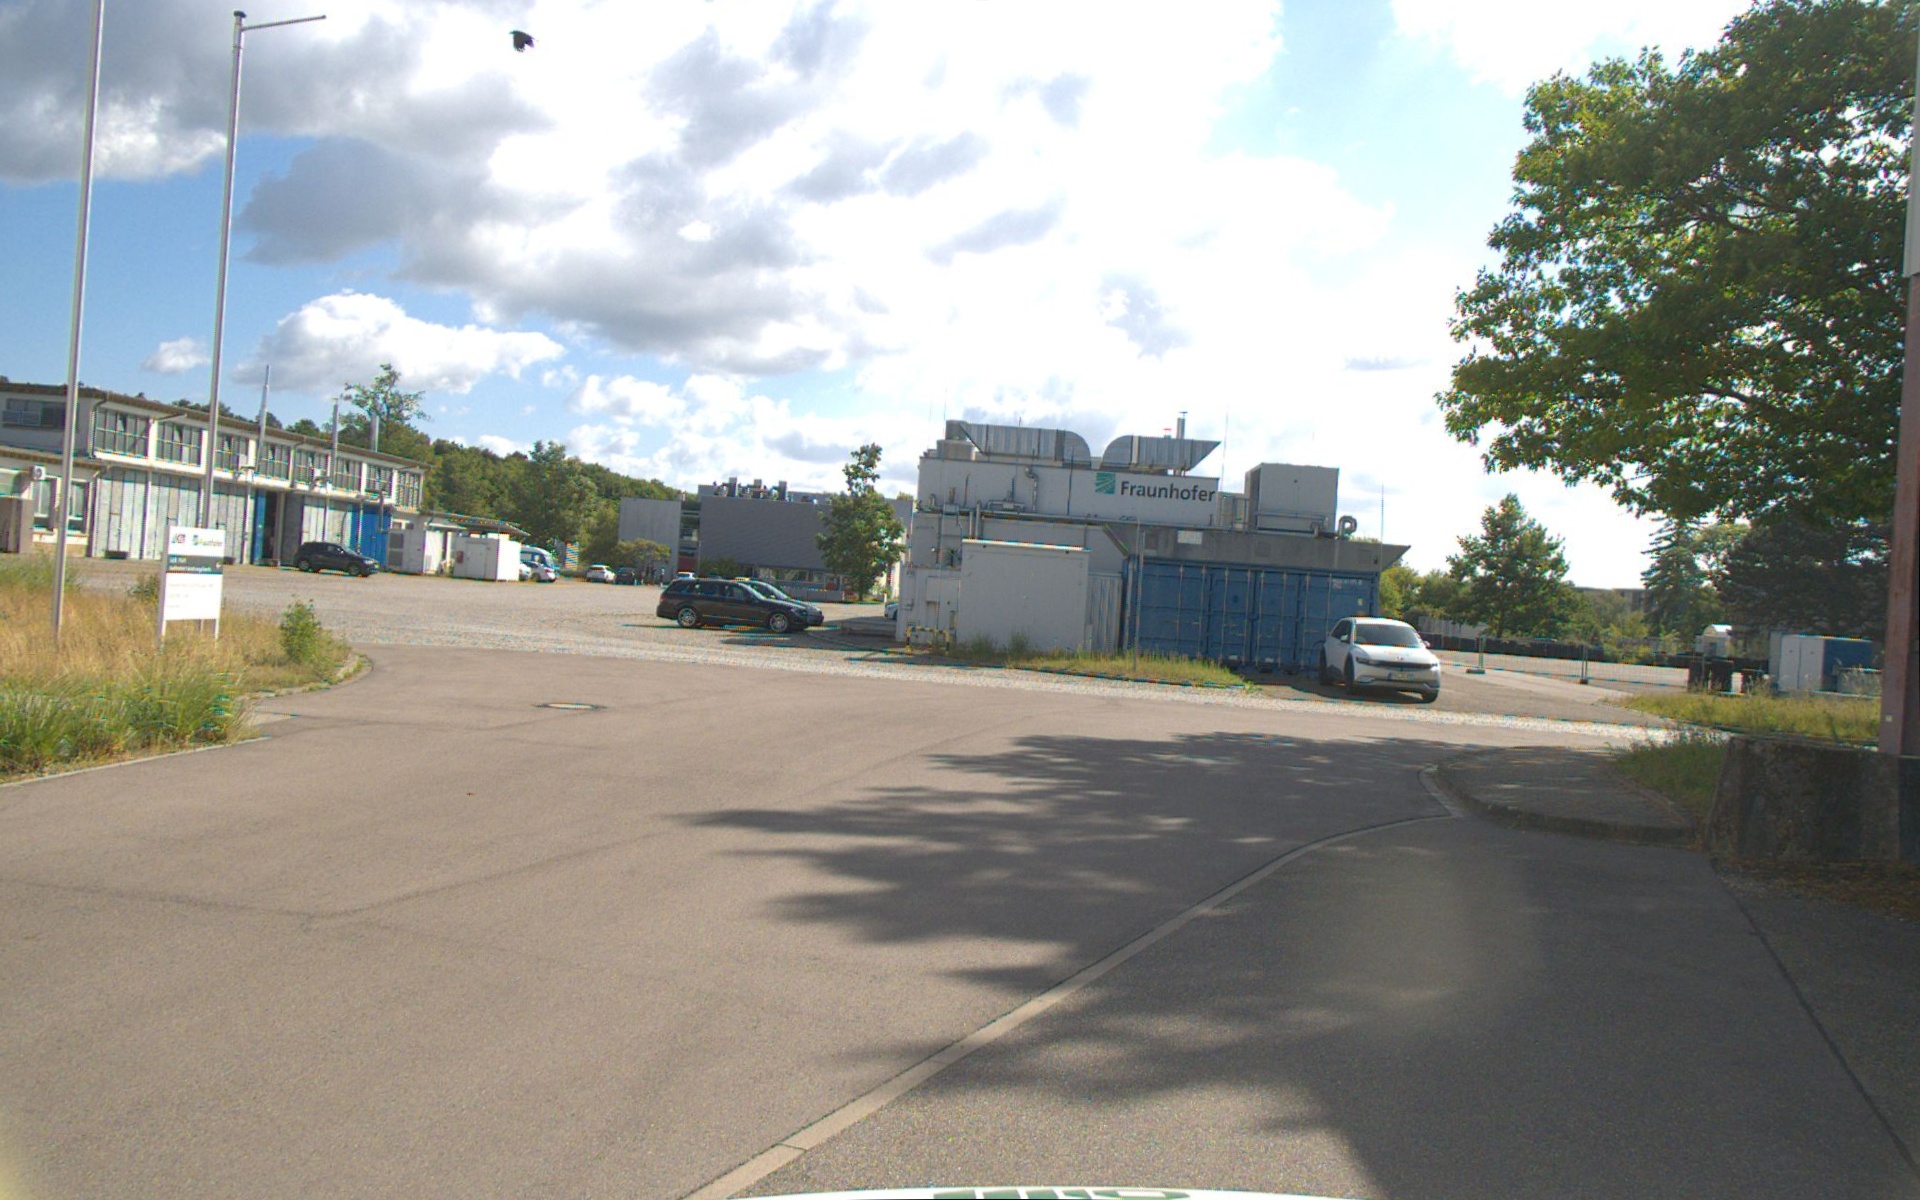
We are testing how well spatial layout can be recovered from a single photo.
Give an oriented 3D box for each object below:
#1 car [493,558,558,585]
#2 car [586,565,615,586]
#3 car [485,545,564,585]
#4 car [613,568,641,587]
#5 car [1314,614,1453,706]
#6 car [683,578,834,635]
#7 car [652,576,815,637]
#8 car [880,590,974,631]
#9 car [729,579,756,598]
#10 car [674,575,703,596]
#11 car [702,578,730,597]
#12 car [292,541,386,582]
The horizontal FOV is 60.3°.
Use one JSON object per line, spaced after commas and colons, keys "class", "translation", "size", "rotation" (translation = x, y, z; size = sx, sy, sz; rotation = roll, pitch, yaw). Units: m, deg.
{"class": "car", "translation": [-31.635, -2.082, 120.466], "size": [4.024, 1.658, 1.809], "rotation": [4, 0, 6]}
{"class": "car", "translation": [-31.934, -2.141, 146.954], "size": [1.809, 1.697, 4.131], "rotation": [2, 0, -3]}
{"class": "car", "translation": [-32.459, -2.596, 123.439], "size": [5.148, 2.484, 2.051], "rotation": [4, 0, 6]}
{"class": "car", "translation": [-29.540, -1.984, 146.759], "size": [1.840, 1.564, 4.033], "rotation": [2, 0, -3]}
{"class": "car", "translation": [9.160, 1.246, 36.123], "size": [1.940, 1.620, 4.342], "rotation": [4, 1, 2]}
{"class": "car", "translation": [-6.351, 0.236, 52.489], "size": [4.436, 1.468, 1.904], "rotation": [4, -2, 2]}
{"class": "car", "translation": [-6.699, 0.217, 49.239], "size": [4.436, 1.468, 1.988], "rotation": [4, -2, 2]}
{"class": "car", "translation": [-1.503, 0.506, 76.841], "size": [4.191, 1.596, 1.988], "rotation": [4, -2, 2]}
{"class": "car", "translation": [-19.313, -1.032, 146.746], "size": [1.839, 1.564, 4.035], "rotation": [2, 0, 0]}
{"class": "car", "translation": [-24.102, -1.292, 146.828], "size": [1.839, 1.719, 4.035], "rotation": [2, 0, 0]}
{"class": "car", "translation": [-21.599, -1.120, 146.597], "size": [1.839, 1.564, 4.035], "rotation": [2, 0, 0]}
{"class": "car", "translation": [-32.655, -2.034, 87.031], "size": [4.078, 1.694, 1.784], "rotation": [6, 0, 0]}
